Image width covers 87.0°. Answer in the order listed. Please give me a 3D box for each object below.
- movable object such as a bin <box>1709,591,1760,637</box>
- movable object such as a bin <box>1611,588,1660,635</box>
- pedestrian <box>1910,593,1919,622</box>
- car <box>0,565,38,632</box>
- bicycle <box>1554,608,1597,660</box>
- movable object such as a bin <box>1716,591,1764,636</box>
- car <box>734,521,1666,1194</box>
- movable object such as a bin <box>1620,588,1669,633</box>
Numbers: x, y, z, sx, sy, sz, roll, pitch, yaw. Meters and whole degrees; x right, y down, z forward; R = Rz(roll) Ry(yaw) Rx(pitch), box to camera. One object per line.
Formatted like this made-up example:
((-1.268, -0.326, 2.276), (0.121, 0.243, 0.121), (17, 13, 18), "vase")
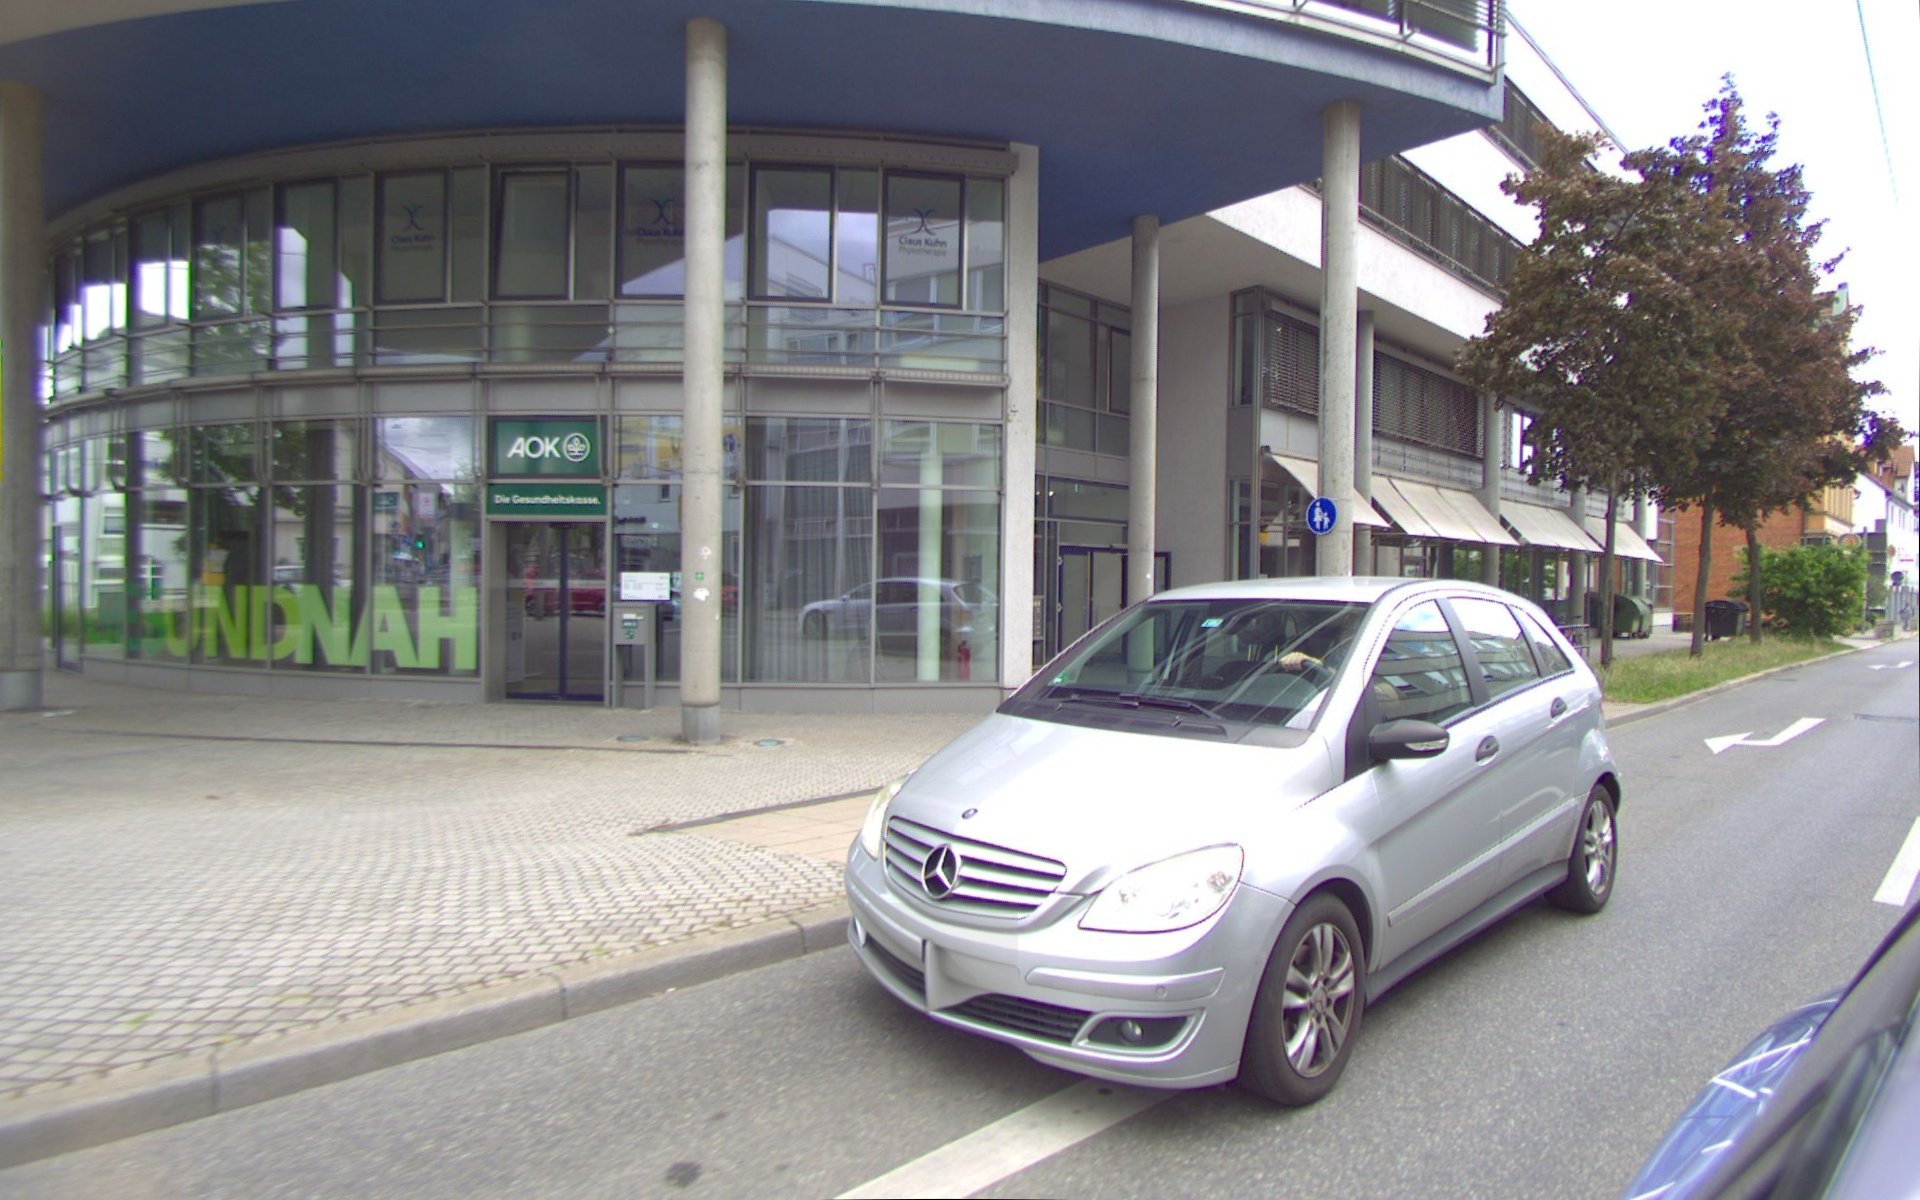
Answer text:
((26.227, 0.449, 34.275), (1.389, 1.483, 1.128), (0, 3, -45), "movable object such as a bin")
((22.637, 0.359, 33.915), (1.311, 1.483, 1.099), (0, 3, -45), "movable object such as a bin")
((58.529, 0.488, 61.786), (0.639, 1.752, 0.689), (0, 1, -45), "pedestrian")
((-29.119, -0.018, 28.751), (1.845, 1.970, 4.912), (-1, 0, -7), "car")
((13.896, 0.738, 22.823), (0.361, 1.100, 1.994), (0, 0, 45), "bicycle")
((27.165, 0.443, 35.247), (1.311, 1.483, 1.099), (0, 3, -45), "movable object such as a bin")
((1.455, 0.609, 4.639), (4.493, 1.566, 1.995), (0, -1, -43), "car")
((23.579, 0.348, 34.868), (1.311, 1.483, 1.123), (0, 3, -45), "movable object such as a bin")
